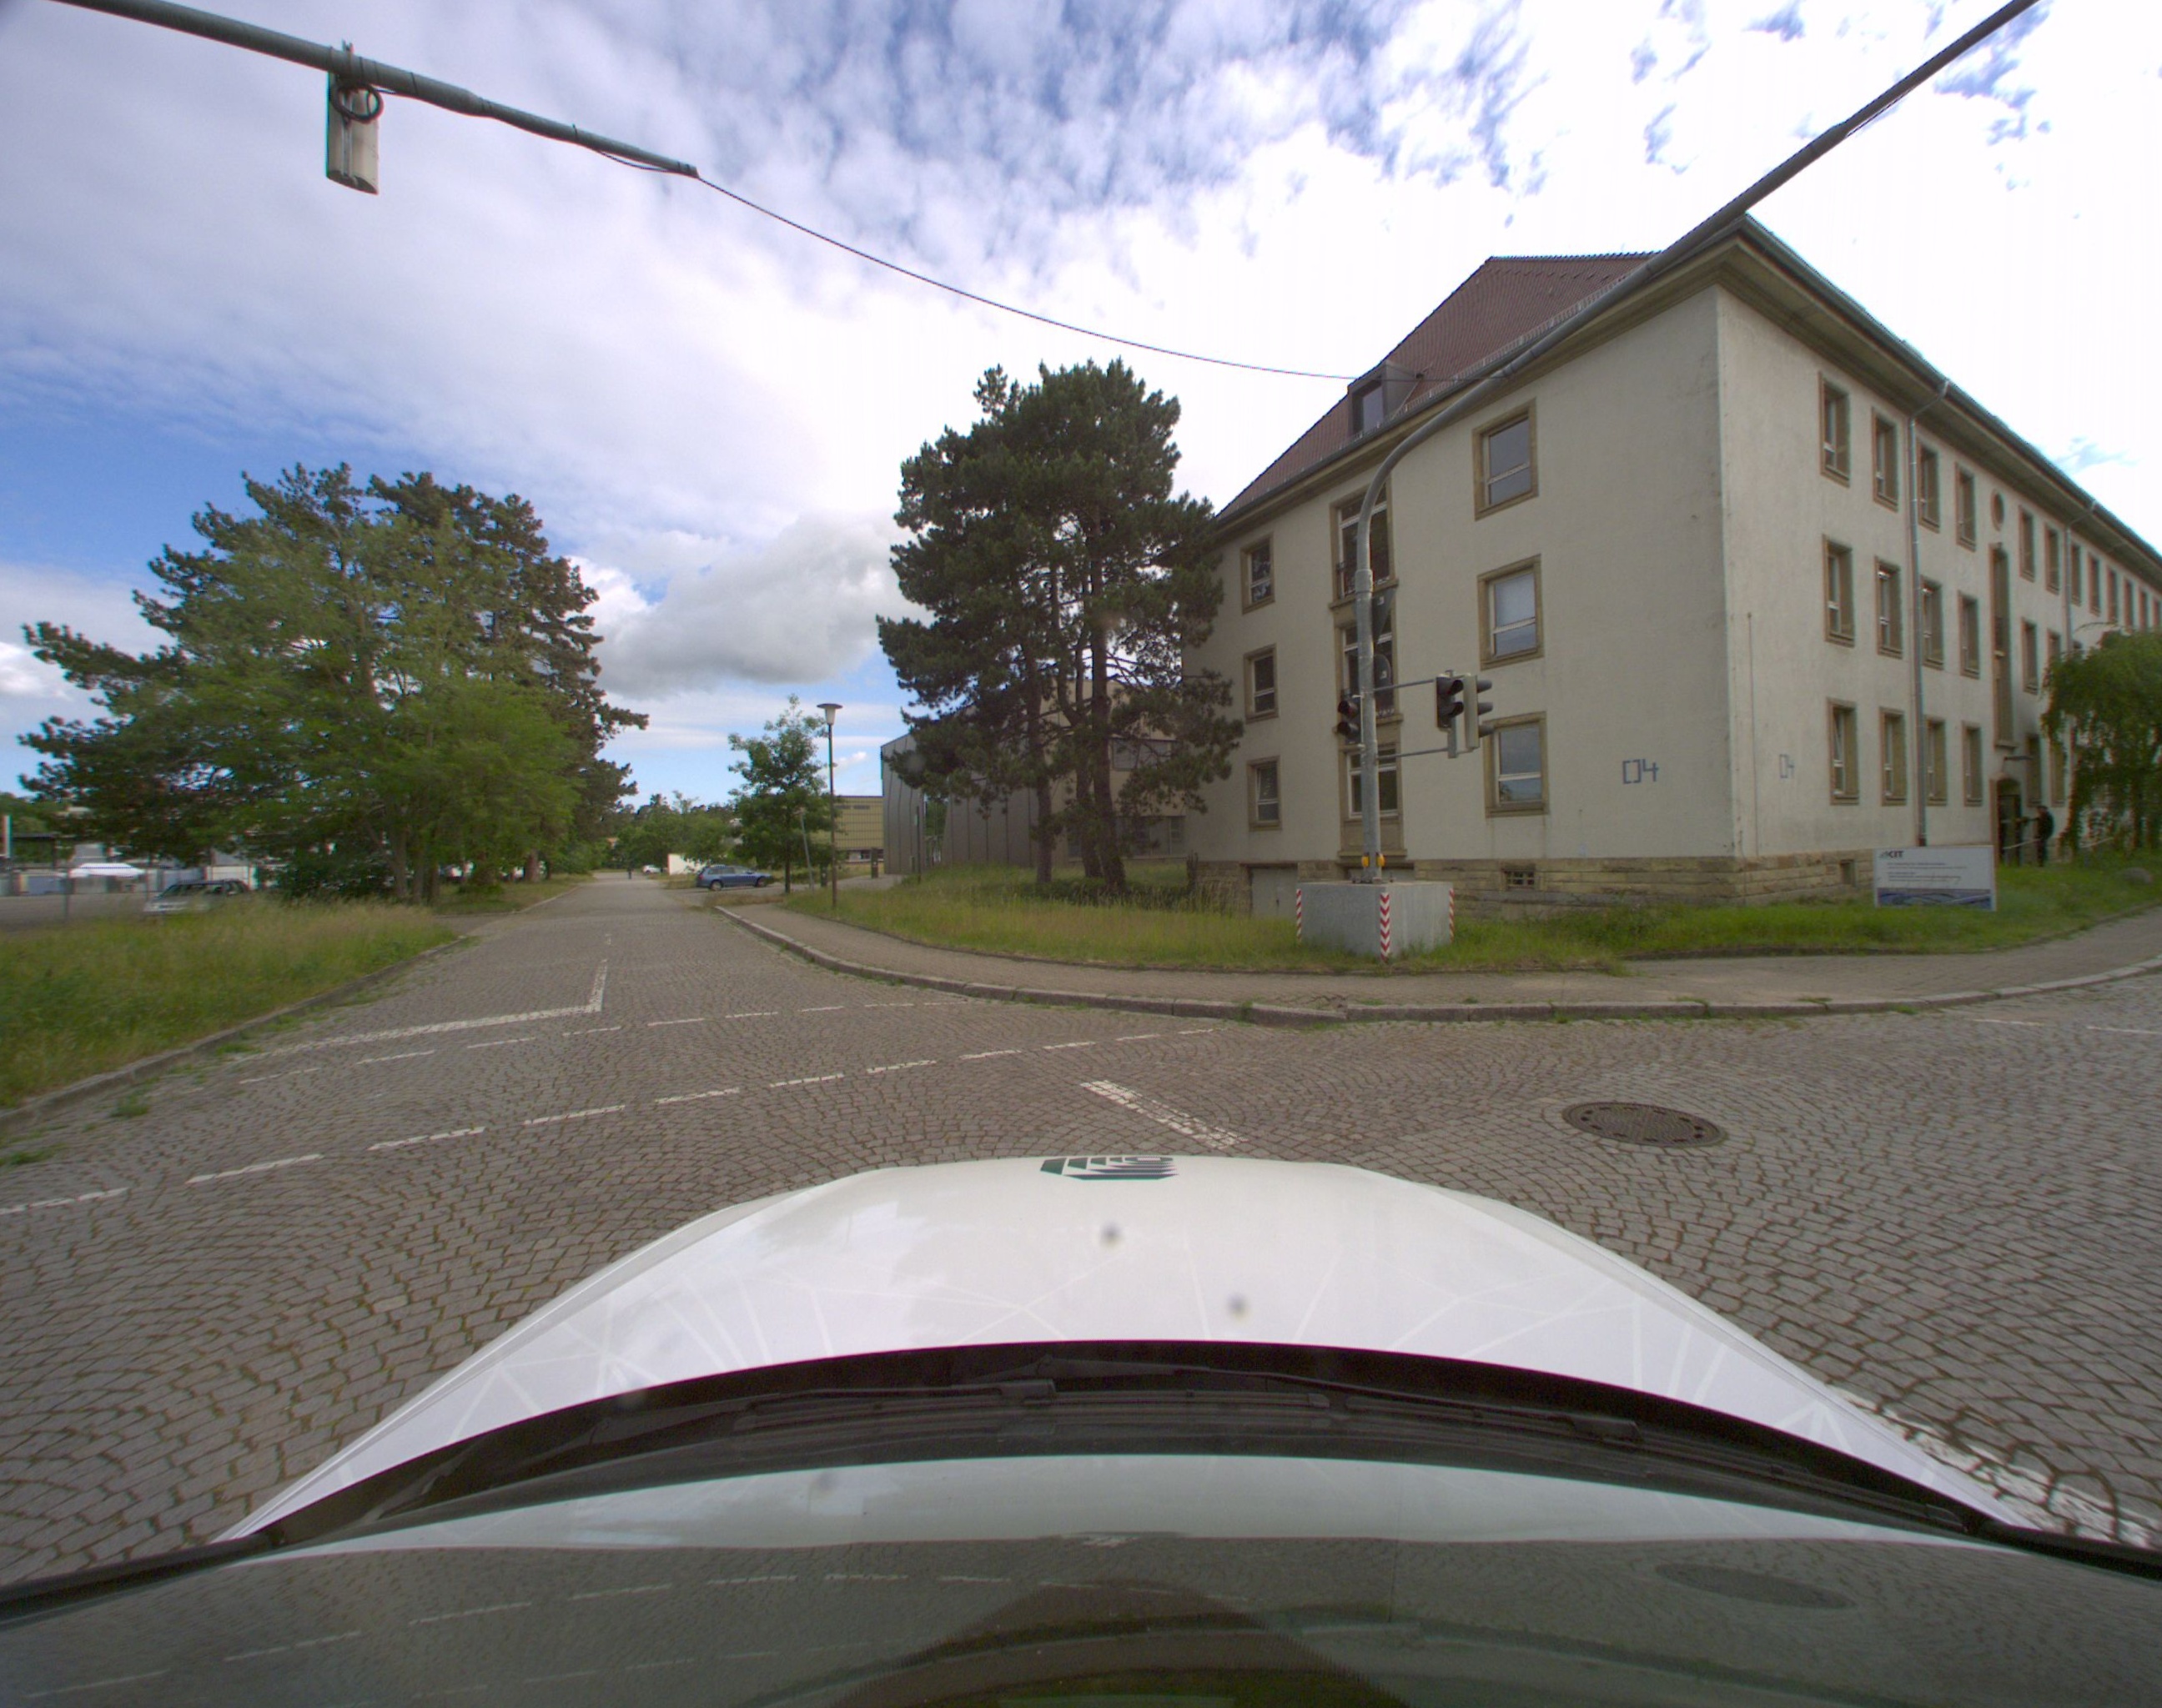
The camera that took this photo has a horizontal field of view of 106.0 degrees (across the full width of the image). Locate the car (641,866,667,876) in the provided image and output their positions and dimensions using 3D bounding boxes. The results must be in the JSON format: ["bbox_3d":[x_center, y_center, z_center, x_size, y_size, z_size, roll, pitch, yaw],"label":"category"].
[{"bbox_3d":[-80.264,3.181,153.174,4.348,1.549,1.981,-2,0,-29],"label":"car"}]

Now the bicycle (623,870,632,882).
[{"bbox_3d":[-54.379,2.587,97.663,0.829,1.376,2.022,-1,1,-31],"label":"bicycle"}]

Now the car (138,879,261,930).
[{"bbox_3d":[-30.248,1.665,28.100,1.741,1.432,4.121,-1,1,-31],"label":"car"}]

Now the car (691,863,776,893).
[{"bbox_3d":[-21.363,1.445,50.168,4.512,1.462,1.915,-4,1,-32],"label":"car"}]

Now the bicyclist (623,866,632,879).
[{"bbox_3d":[-54.381,2.198,97.632,0.903,1.542,0.859,-1,1,-31],"label":"bicyclist"}]

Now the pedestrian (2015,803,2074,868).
[{"bbox_3d":[27.387,-0.524,23.152,0.942,1.781,0.833,-2,0,-24],"label":"pedestrian"}]
